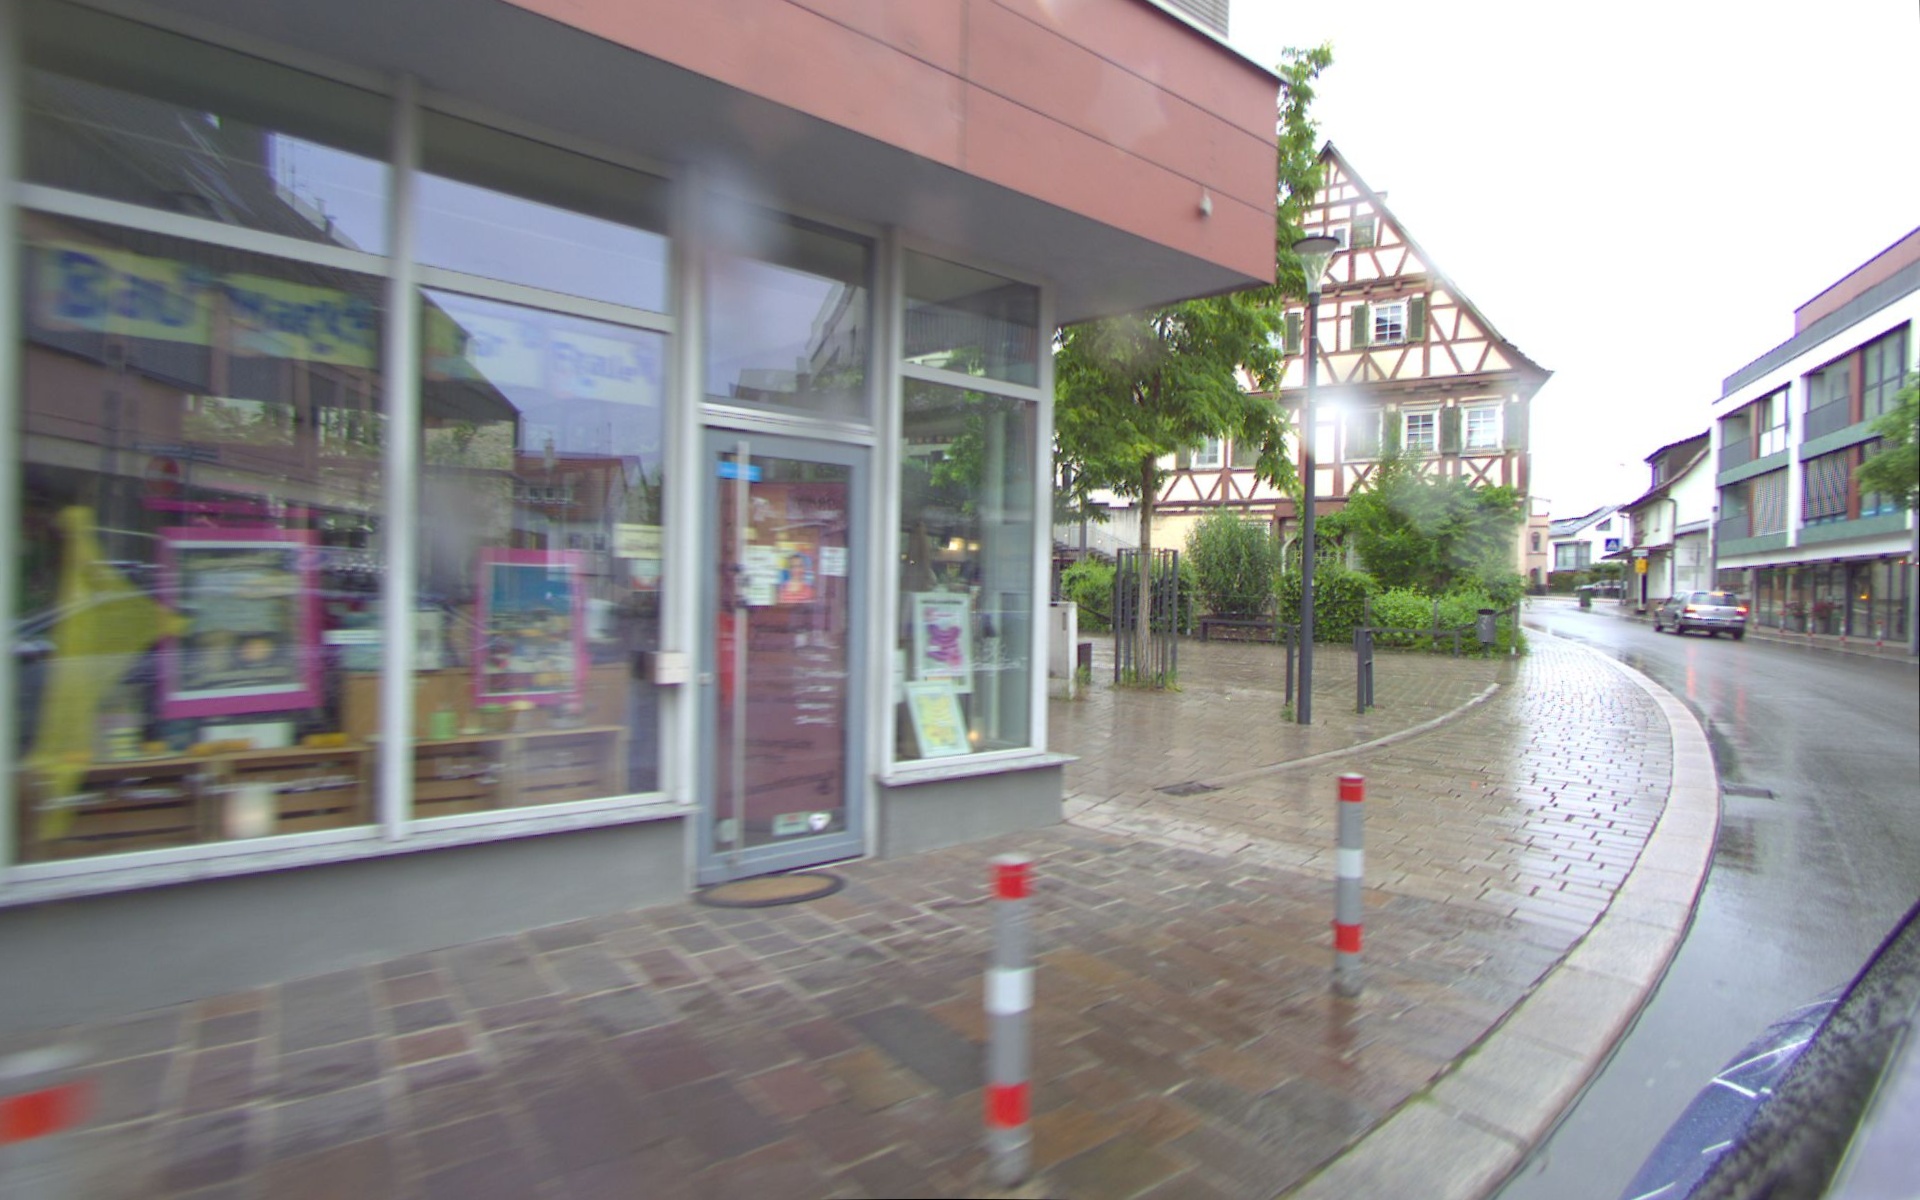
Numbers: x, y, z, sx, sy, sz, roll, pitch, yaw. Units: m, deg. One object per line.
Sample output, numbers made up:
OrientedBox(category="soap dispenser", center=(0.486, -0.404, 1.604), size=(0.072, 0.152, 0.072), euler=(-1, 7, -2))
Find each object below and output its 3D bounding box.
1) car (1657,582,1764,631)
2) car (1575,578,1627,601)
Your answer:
OrientedBox(category="car", center=(23.270, 0.160, 31.530), size=(1.758, 1.430, 3.707), euler=(0, 0, 22))
OrientedBox(category="car", center=(59.850, -0.968, 94.576), size=(3.977, 2.039, 1.973), euler=(0, 0, 37))
